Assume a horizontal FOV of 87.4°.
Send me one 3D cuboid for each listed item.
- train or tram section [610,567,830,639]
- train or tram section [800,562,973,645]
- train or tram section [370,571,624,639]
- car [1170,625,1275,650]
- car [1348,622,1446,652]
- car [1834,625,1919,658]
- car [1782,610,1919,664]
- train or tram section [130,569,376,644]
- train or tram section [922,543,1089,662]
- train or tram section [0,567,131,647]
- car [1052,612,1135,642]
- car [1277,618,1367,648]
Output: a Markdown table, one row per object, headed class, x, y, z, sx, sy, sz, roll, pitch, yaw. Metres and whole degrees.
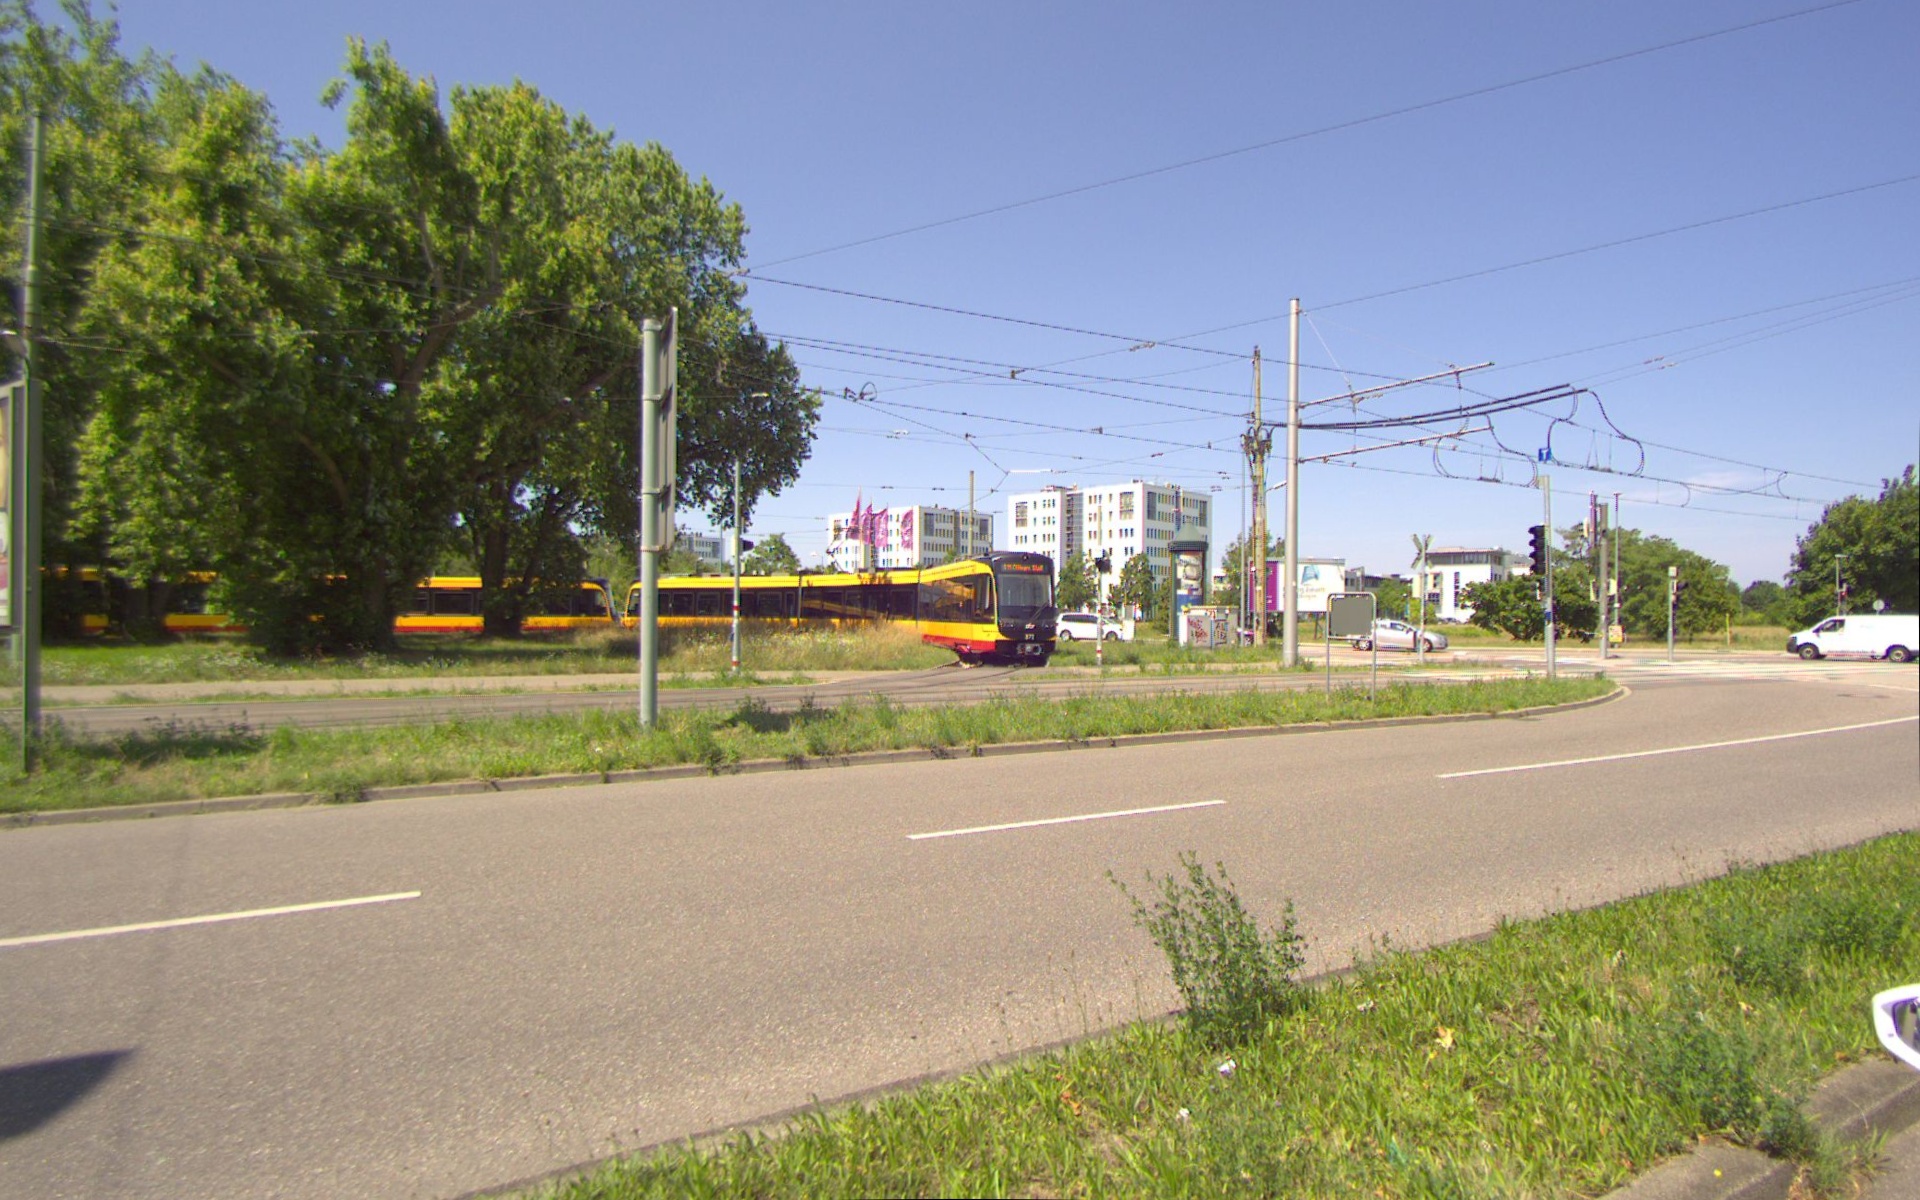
| class | x | y | z | sx | sy | sz | roll | pitch | yaw |
| --- | --- | --- | --- | --- | --- | --- | --- | --- | --- |
| train or tram section | -13.183 | 0.050 | 54.569 | 12.511 | 3.512 | 3.043 | 1 | 1 | 26 |
| train or tram section | -3.754 | 0.069 | 47.530 | 3.020 | 3.512 | 10.109 | 0 | 1 | -38 |
| train or tram section | -25.616 | 0.297 | 56.398 | 12.534 | 3.512 | 3.037 | 1 | 1 | -14 |
| car | 13.552 | 1.905 | 51.816 | 5.136 | 1.147 | 1.899 | 0 | 0 | 19 |
| car | 21.050 | 1.741 | 48.435 | 4.202 | 1.311 | 1.997 | 0 | 0 | 28 |
| car | 42.801 | 1.897 | 45.785 | 4.363 | 1.390 | 1.890 | 0 | 0 | 40 |
| car | 39.057 | 1.554 | 43.771 | 1.980 | 2.139 | 4.700 | 0 | 0 | -35 |
| train or tram section | -36.088 | 0.328 | 51.720 | 10.134 | 3.512 | 3.012 | 1 | 1 | -39 |
| train or tram section | 1.137 | 0.012 | 36.674 | 2.993 | 3.512 | 13.262 | 1 | 1 | -11 |
| train or tram section | -44.383 | 0.259 | 43.218 | 2.992 | 3.512 | 13.240 | 1 | 1 | 30 |
| car | 7.936 | 1.594 | 59.742 | 4.457 | 1.660 | 1.996 | 0 | 0 | 29 |
| car | 19.040 | 1.705 | 52.833 | 4.204 | 1.431 | 1.895 | 0 | 0 | 30 |
